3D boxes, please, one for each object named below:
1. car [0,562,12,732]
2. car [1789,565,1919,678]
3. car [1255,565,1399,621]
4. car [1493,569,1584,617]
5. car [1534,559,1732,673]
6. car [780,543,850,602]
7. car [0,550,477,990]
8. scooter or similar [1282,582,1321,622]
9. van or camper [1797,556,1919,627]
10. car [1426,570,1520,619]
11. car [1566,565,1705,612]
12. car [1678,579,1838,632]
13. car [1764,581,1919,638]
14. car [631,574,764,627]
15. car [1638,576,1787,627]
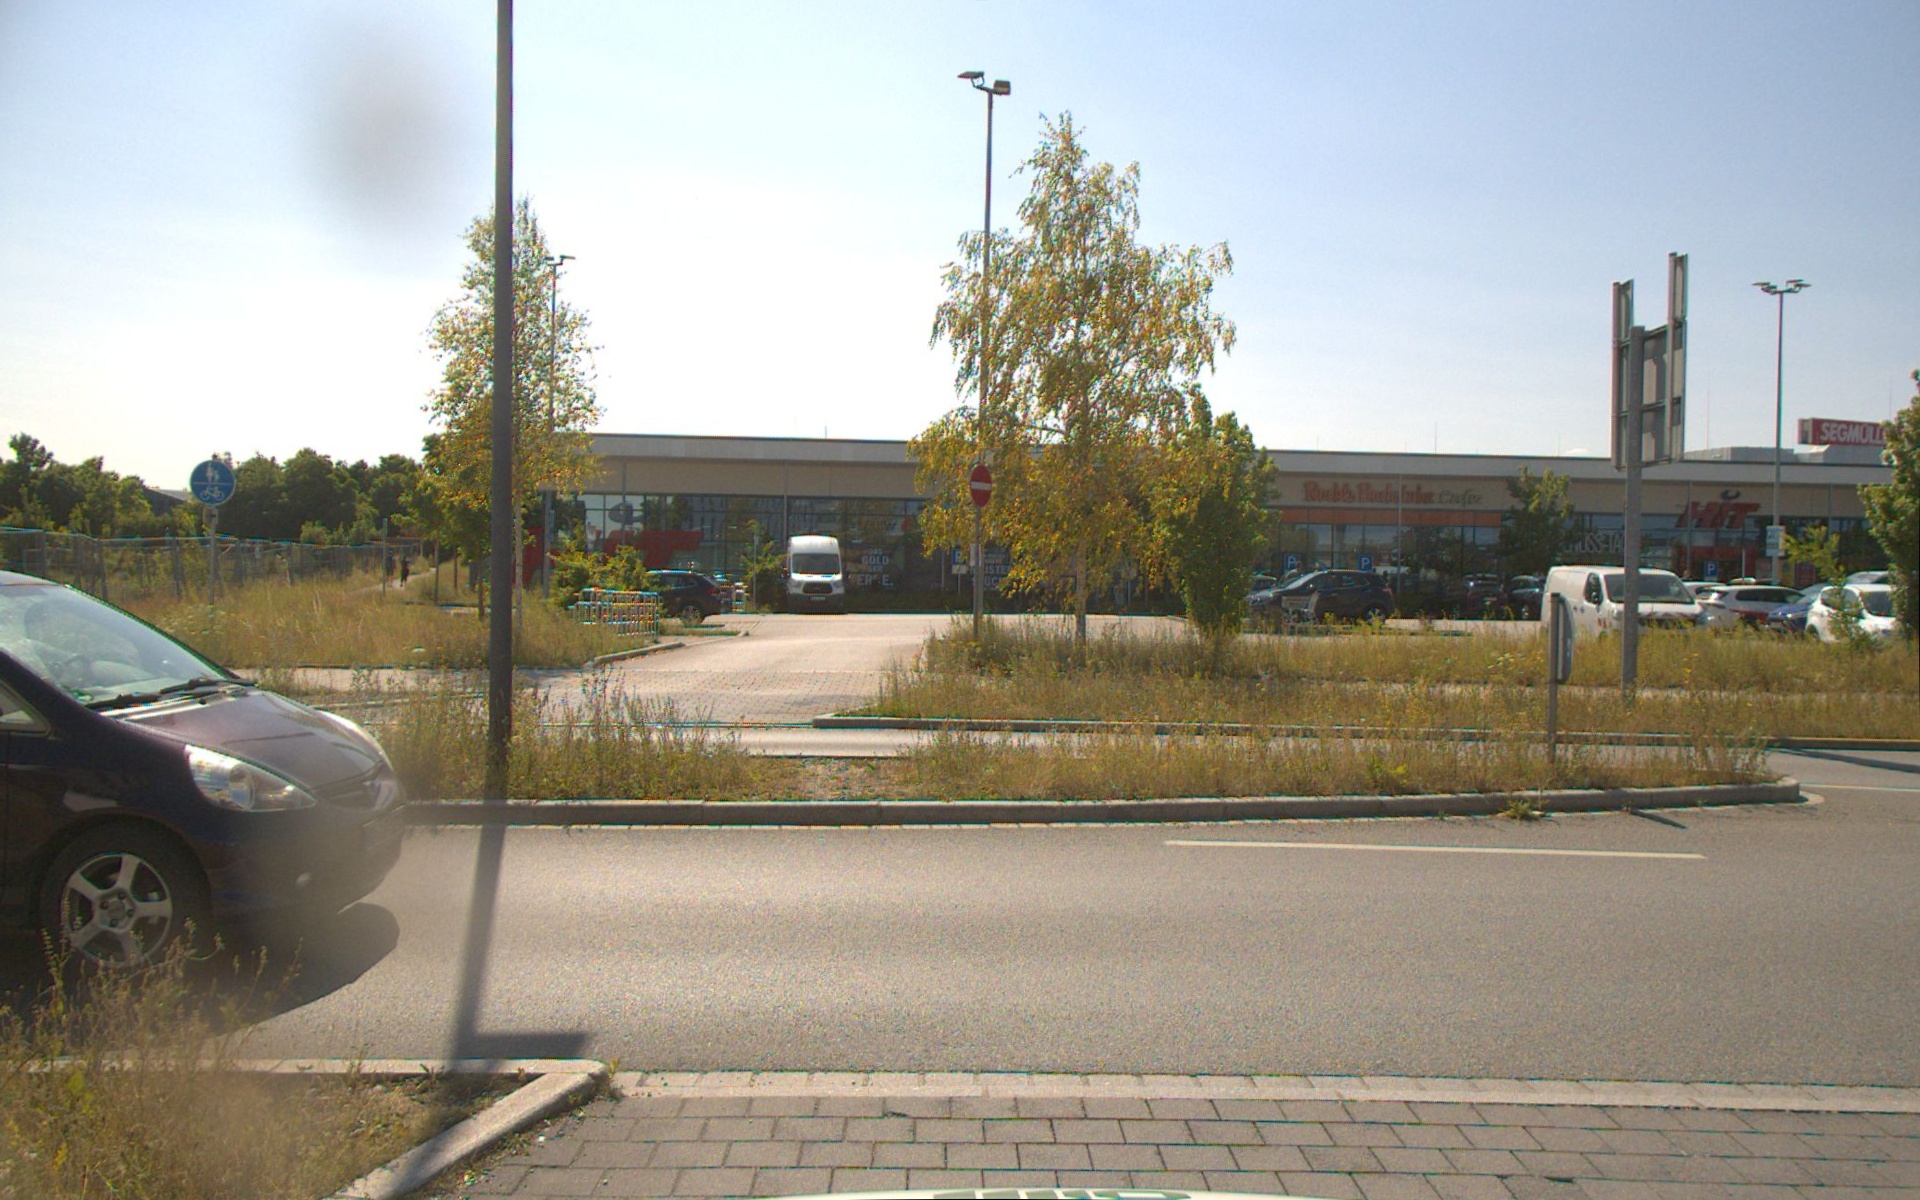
[{"bbox_3d":[-10.455,0.398,13.684,4.114,1.543,1.992,1,1,-16],"label":"car"},{"bbox_3d":[18.343,0.364,32.613,2.111,2.048,5.121,1,1,9],"label":"car"},{"bbox_3d":[10.569,-0.208,47.802,3.719,1.535,1.731,1,1,-4],"label":"car"},{"bbox_3d":[21.774,-0.293,62.455,1.953,1.737,4.000,1,1,-1],"label":"car"},{"bbox_3d":[13.243,0.238,32.941,2.037,2.048,5.231,1,1,3],"label":"car"},{"bbox_3d":[-5.356,-1.005,60.289,2.181,2.011,6.684,0,1,-8],"label":"car"},{"bbox_3d":[-4.184,0.580,6.916,3.754,1.577,1.999,1,1,-3],"label":"car"},{"bbox_3d":[9.505,0.049,46.053,0.924,1.098,0.652,1,1,0],"label":"scooter or similar"},{"bbox_3d":[28.185,-0.251,49.848,4.934,2.048,1.999,1,1,-3],"label":"van or camper"},{"bbox_3d":[19.167,-0.237,61.987,1.955,1.737,3.996,1,1,-5],"label":"car"},{"bbox_3d":[21.107,-0.371,51.749,3.650,1.415,1.729,1,1,-8],"label":"car"},{"bbox_3d":[22.100,0.142,45.886,3.650,1.415,1.729,1,1,-8],"label":"car"},{"bbox_3d":[23.277,0.238,43.338,3.650,1.415,1.729,1,1,-8],"label":"car"},{"bbox_3d":[-7.672,-0.006,48.482,3.761,1.448,1.769,1,0,-9],"label":"car"},{"bbox_3d":[22.228,0.031,48.931,3.650,1.415,1.729,1,1,-8],"label":"car"}]
